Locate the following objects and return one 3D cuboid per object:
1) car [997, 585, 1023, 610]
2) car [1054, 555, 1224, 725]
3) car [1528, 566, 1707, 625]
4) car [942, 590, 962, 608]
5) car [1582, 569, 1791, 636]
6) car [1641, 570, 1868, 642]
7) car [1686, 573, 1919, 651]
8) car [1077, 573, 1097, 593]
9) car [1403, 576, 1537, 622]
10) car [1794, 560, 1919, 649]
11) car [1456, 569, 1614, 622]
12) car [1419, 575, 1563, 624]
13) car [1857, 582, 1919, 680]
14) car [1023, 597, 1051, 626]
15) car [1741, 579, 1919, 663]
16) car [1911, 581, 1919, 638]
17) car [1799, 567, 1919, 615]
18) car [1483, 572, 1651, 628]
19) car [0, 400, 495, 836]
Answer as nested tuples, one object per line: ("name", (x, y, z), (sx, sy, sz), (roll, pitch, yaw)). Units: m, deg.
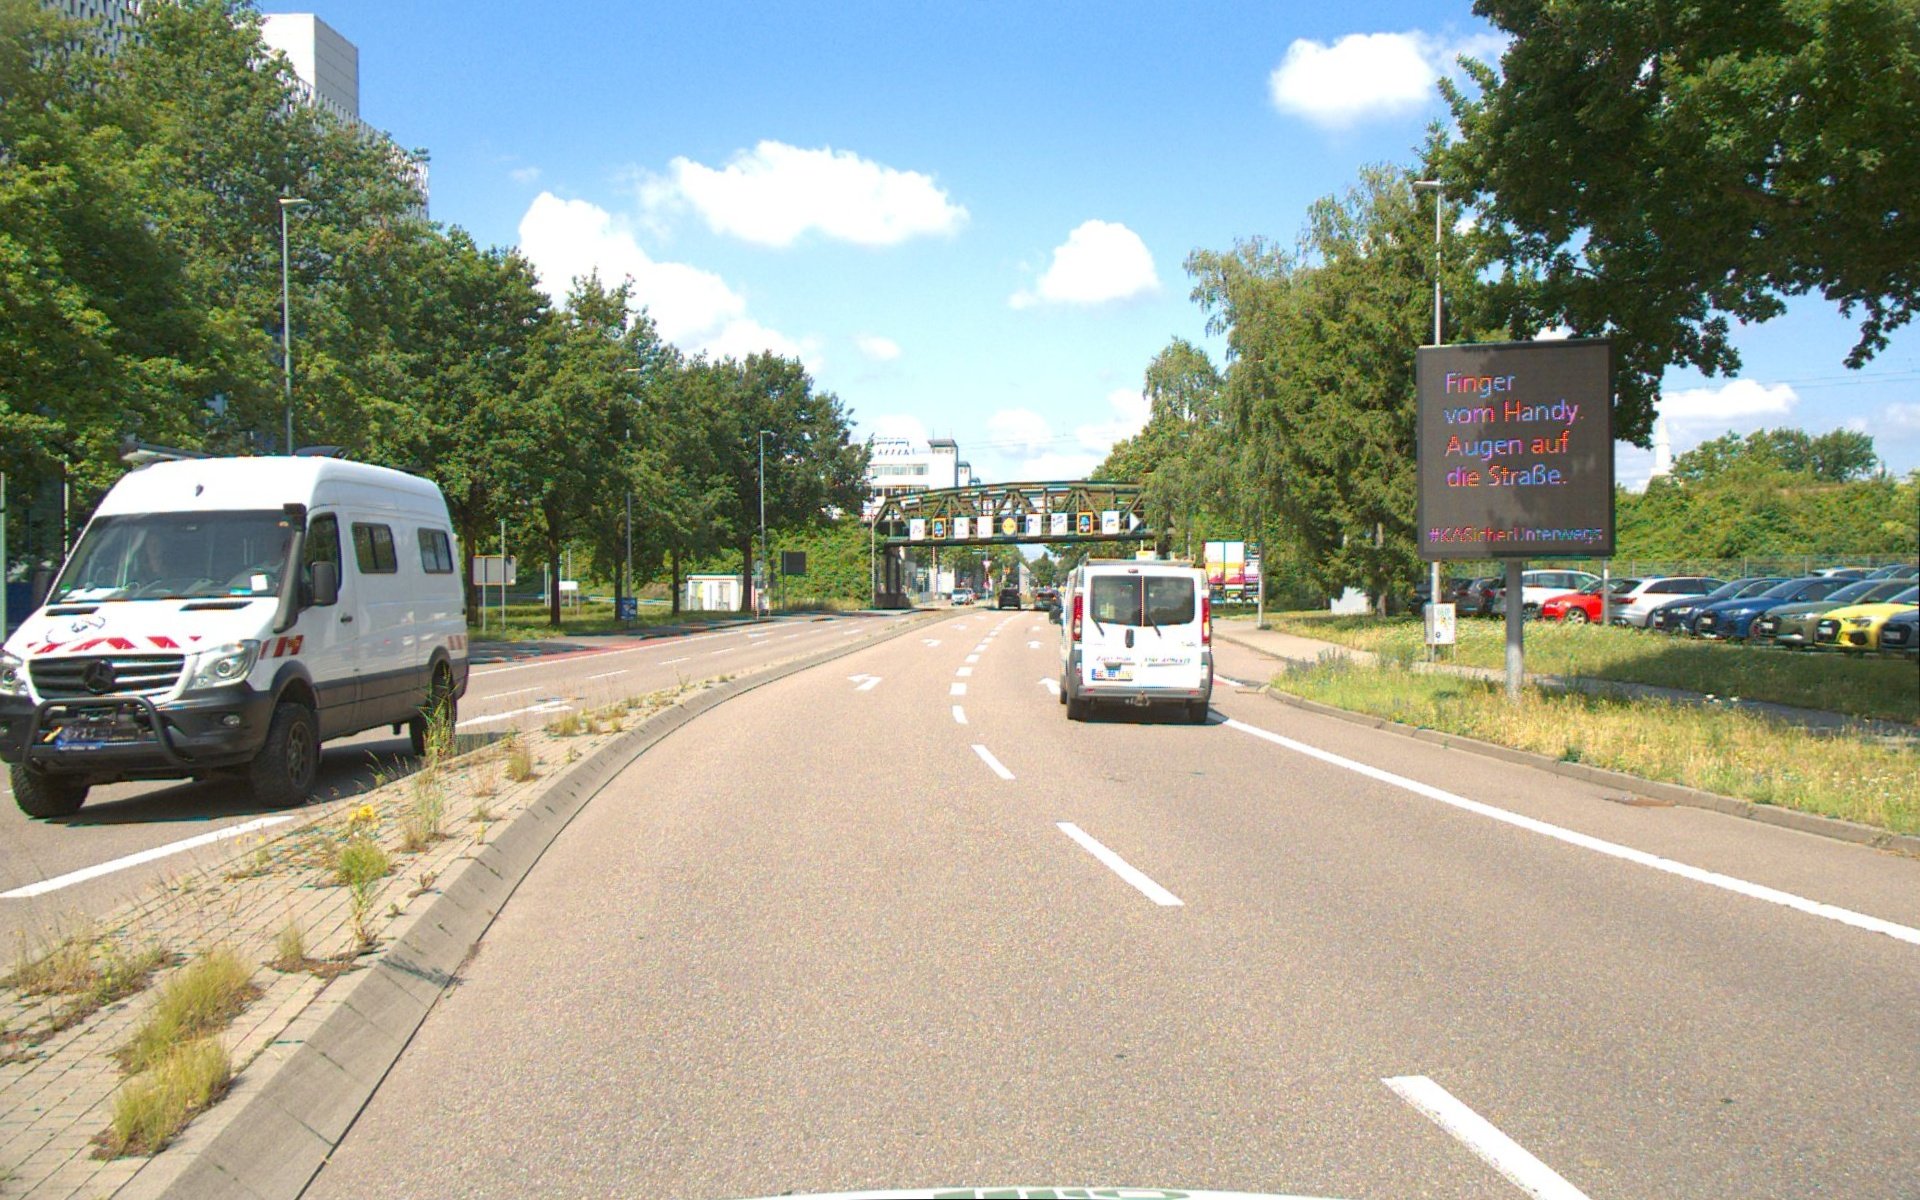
("car", (4.039, -0.234, 132.830), (1.951, 1.802, 4.003), (1, 2, 4))
("car", (2.342, 0.434, 22.694), (1.932, 2.095, 4.566), (0, 1, 1))
("car", (18.439, -0.142, 46.534), (4.264, 1.539, 1.937), (1, 2, 1))
("car", (-0.962, -0.131, 194.868), (1.951, 2.049, 4.003), (0, 0, 5))
("car", (17.777, 0.042, 40.626), (4.264, 1.539, 1.937), (1, 2, 1))
("car", (18.173, 0.108, 37.985), (4.264, 1.539, 1.937), (1, 2, 1))
("car", (18.050, 0.242, 35.301), (4.264, 1.539, 1.937), (1, 2, 1))
("car", (16.417, -2.240, 213.513), (2.328, 2.518, 4.765), (0, 0, 8))
("car", (18.361, -0.043, 59.663), (4.264, 1.539, 1.937), (1, 2, 1))
("car", (17.909, 0.073, 30.287), (4.264, 1.539, 1.937), (1, 2, 1))
("car", (17.881, -0.166, 51.594), (4.264, 1.539, 1.937), (1, 2, 1))
("car", (17.879, -0.017, 55.853), (4.264, 1.539, 1.937), (1, 2, 1))
("car", (17.702, 0.516, 27.705), (4.264, 1.539, 1.937), (1, 2, 1))
("car", (5.652, 0.812, 121.425), (1.952, 2.049, 4.002), (0, 0, 3))
("car", (18.055, 0.392, 32.748), (4.264, 1.539, 1.937), (1, 2, 1))
("car", (27.576, 0.243, 43.294), (4.255, 1.525, 1.908), (0, 0, 3))
("car", (29.870, -0.297, 53.706), (4.255, 1.525, 1.908), (0, 0, 3))
("car", (17.925, -0.026, 49.016), (4.264, 1.539, 1.937), (1, 2, 1))
("car", (-5.903, 0.103, 14.414), (1.982, 2.944, 6.381), (0, 0, -1))
